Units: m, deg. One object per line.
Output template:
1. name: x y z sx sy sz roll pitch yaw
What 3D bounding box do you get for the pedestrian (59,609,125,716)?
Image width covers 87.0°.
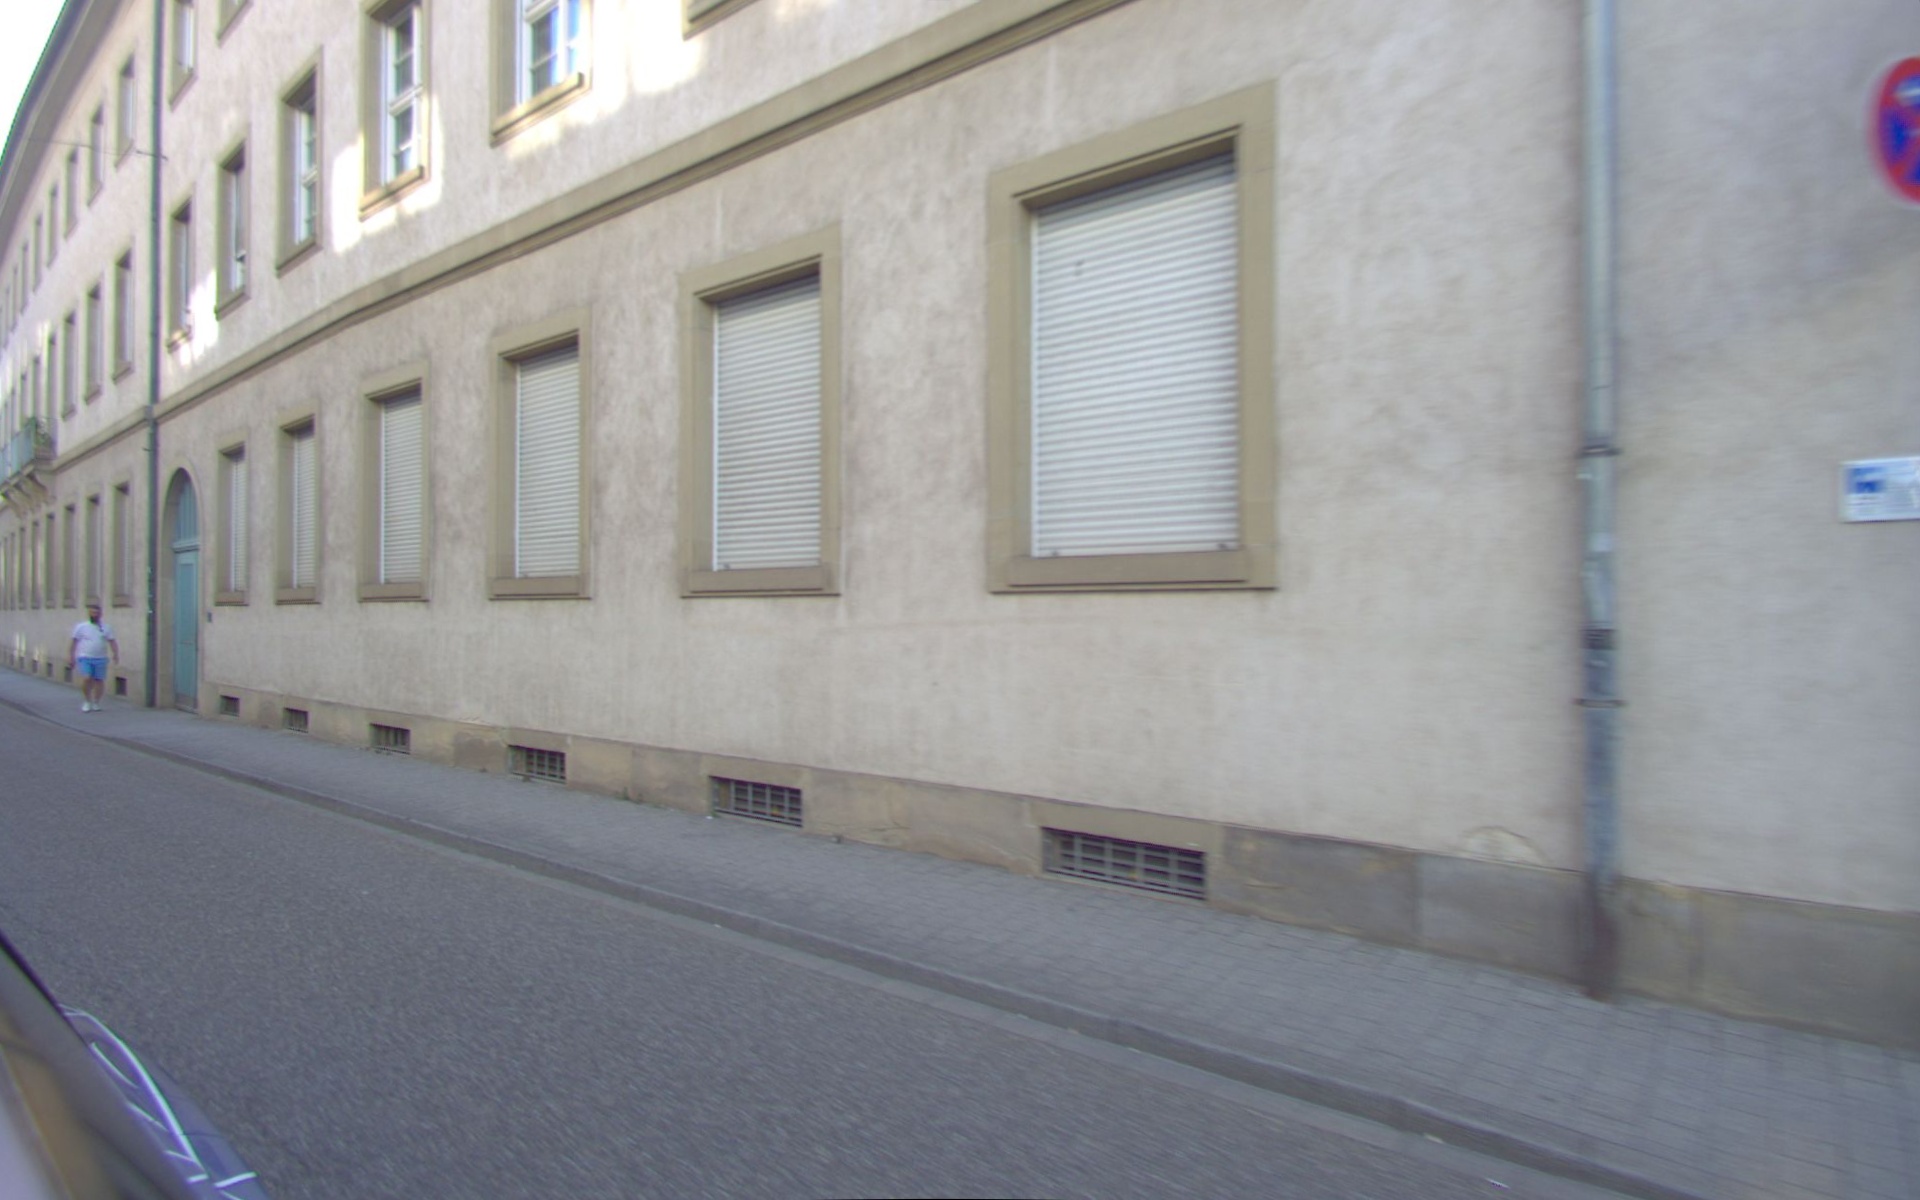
1. pedestrian: -14.355 1.008 16.733 0.874 1.682 0.685 -1 1 41
